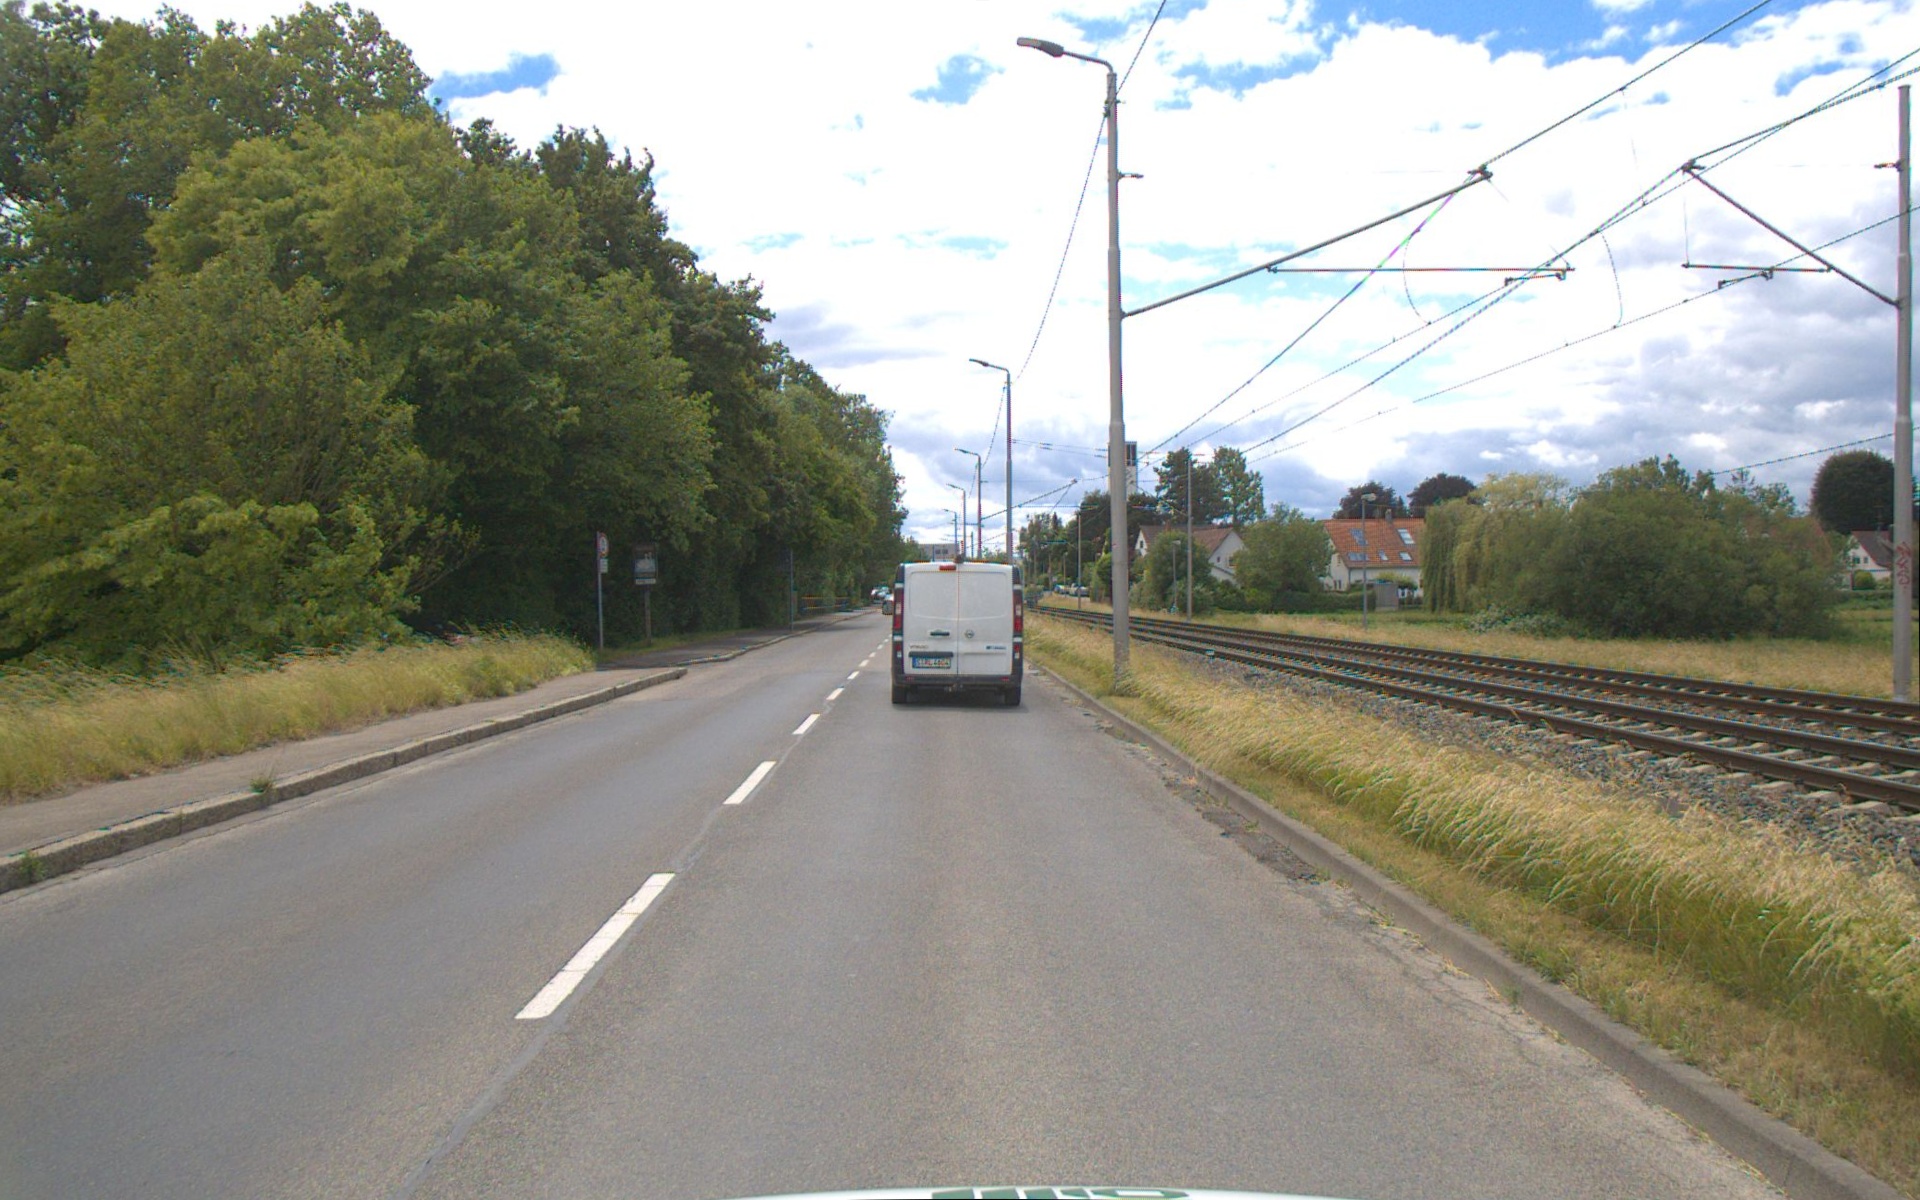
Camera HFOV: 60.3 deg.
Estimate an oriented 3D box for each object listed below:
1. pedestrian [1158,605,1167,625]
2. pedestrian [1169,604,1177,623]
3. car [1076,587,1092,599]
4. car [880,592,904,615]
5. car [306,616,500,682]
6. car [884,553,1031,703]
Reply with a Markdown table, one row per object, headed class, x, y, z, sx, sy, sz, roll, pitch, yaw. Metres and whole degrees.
| class | x | y | z | sx | sy | sz | roll | pitch | yaw |
| --- | --- | --- | --- | --- | --- | --- | --- | --- | --- |
| pedestrian | 15.650 | 1.188 | 127.823 | 0.643 | 1.532 | 0.656 | 0 | 0 | -2 |
| pedestrian | 16.460 | 1.040 | 127.683 | 0.515 | 1.532 | 0.656 | 0 | 0 | -2 |
| car | 18.333 | -1.028 | 244.987 | 1.953 | 1.747 | 3.998 | 1 | -1 | -2 |
| car | -5.493 | 0.284 | 133.560 | 1.954 | 1.747 | 4.121 | 0 | 0 | -3 |
| car | -13.030 | 1.138 | 38.857 | 3.905 | 1.321 | 1.745 | -3 | 0 | 0 |
| car | -0.104 | 0.375 | 24.149 | 1.953 | 1.991 | 3.998 | 1 | 0 | -2 |
